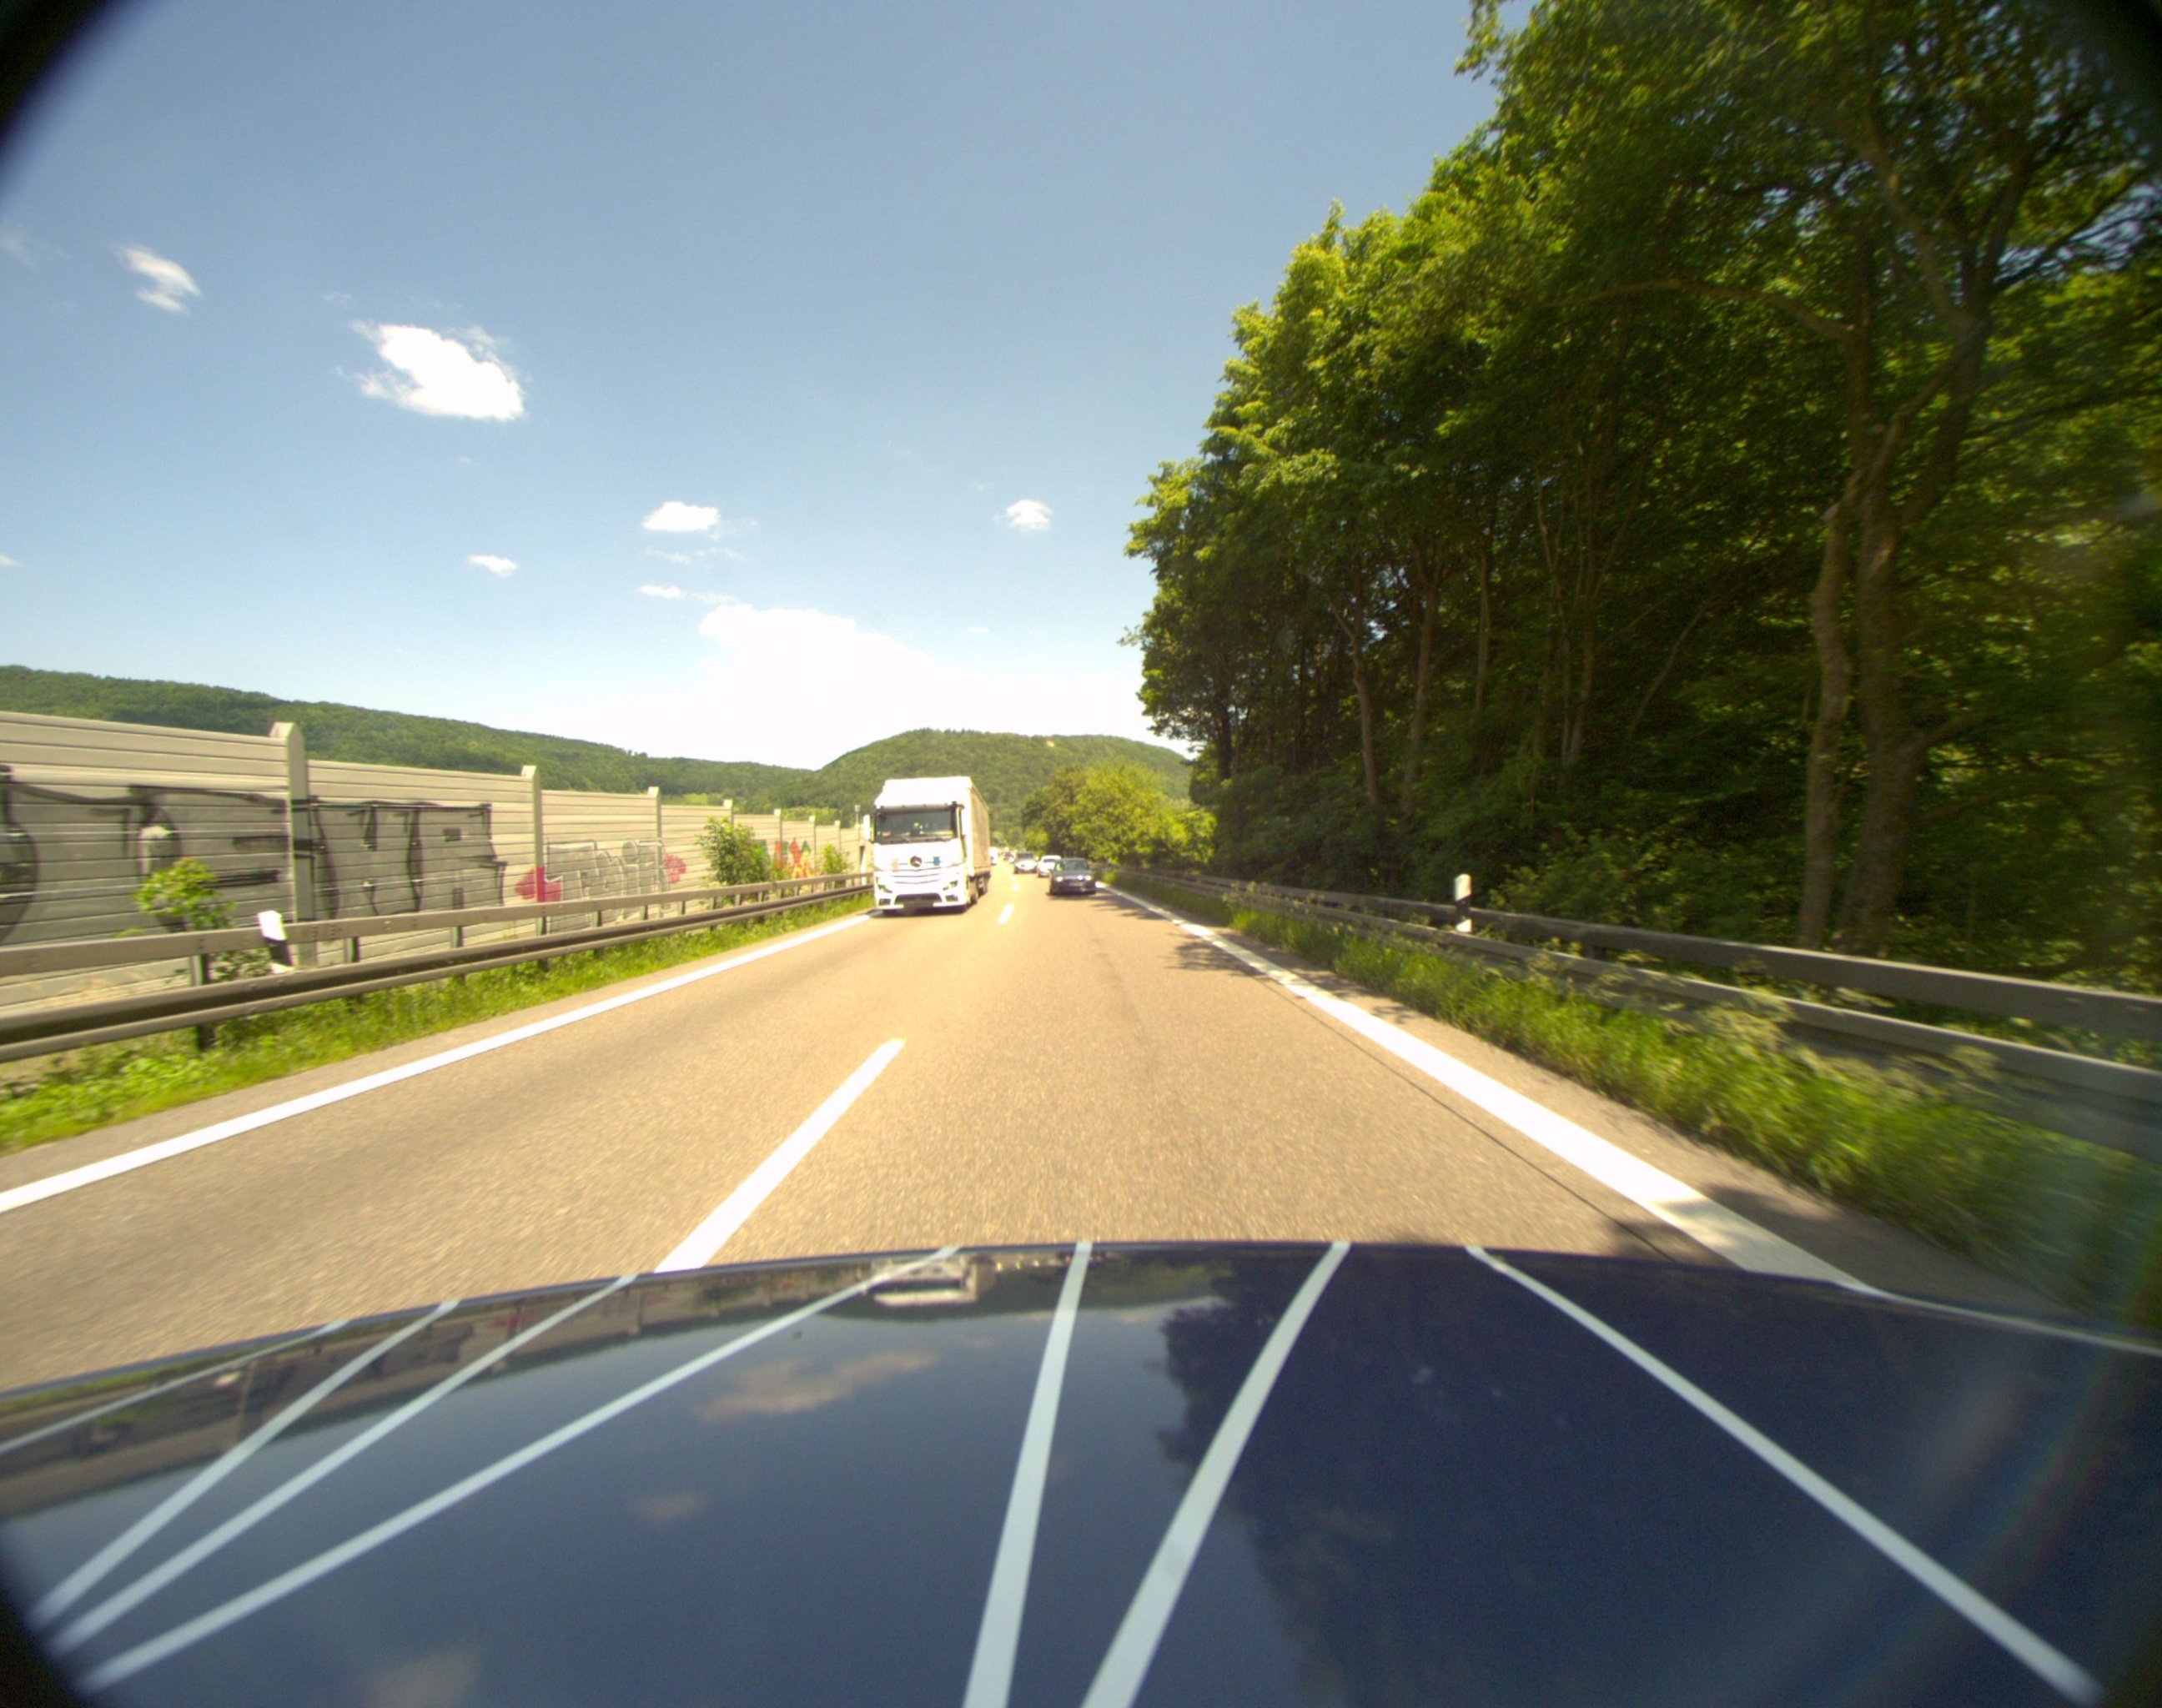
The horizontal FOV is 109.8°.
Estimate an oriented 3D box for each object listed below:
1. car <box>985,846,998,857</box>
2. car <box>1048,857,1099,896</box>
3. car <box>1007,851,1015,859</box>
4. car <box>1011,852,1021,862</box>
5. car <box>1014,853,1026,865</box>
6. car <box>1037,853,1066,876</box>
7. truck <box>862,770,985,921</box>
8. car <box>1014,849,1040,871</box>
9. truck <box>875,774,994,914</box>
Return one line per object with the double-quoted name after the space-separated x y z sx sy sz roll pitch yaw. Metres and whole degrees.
-14.986 -0.394 127.337 2.000 1.892 3.998 1 -1 -6 "car"
-0.358 0.877 29.829 1.663 1.435 3.474 -1 -2 -6 "car"
-17.868 0.261 194.255 1.999 2.002 3.998 0 0 -4 "car"
-13.779 0.661 160.900 1.999 2.002 3.998 0 0 -4 "car"
-11.018 0.910 137.183 1.999 2.002 3.998 0 0 -5 "car"
-2.121 0.731 53.905 1.716 1.541 3.997 0 0 -7 "car"
-4.698 -0.250 24.029 2.765 4.015 6.820 -2 1 -4 "truck"
-4.762 0.534 66.510 2.045 1.854 3.998 0 -1 -8 "car"
-5.091 -0.316 28.932 2.862 4.123 12.042 -2 0 -4 "truck"
